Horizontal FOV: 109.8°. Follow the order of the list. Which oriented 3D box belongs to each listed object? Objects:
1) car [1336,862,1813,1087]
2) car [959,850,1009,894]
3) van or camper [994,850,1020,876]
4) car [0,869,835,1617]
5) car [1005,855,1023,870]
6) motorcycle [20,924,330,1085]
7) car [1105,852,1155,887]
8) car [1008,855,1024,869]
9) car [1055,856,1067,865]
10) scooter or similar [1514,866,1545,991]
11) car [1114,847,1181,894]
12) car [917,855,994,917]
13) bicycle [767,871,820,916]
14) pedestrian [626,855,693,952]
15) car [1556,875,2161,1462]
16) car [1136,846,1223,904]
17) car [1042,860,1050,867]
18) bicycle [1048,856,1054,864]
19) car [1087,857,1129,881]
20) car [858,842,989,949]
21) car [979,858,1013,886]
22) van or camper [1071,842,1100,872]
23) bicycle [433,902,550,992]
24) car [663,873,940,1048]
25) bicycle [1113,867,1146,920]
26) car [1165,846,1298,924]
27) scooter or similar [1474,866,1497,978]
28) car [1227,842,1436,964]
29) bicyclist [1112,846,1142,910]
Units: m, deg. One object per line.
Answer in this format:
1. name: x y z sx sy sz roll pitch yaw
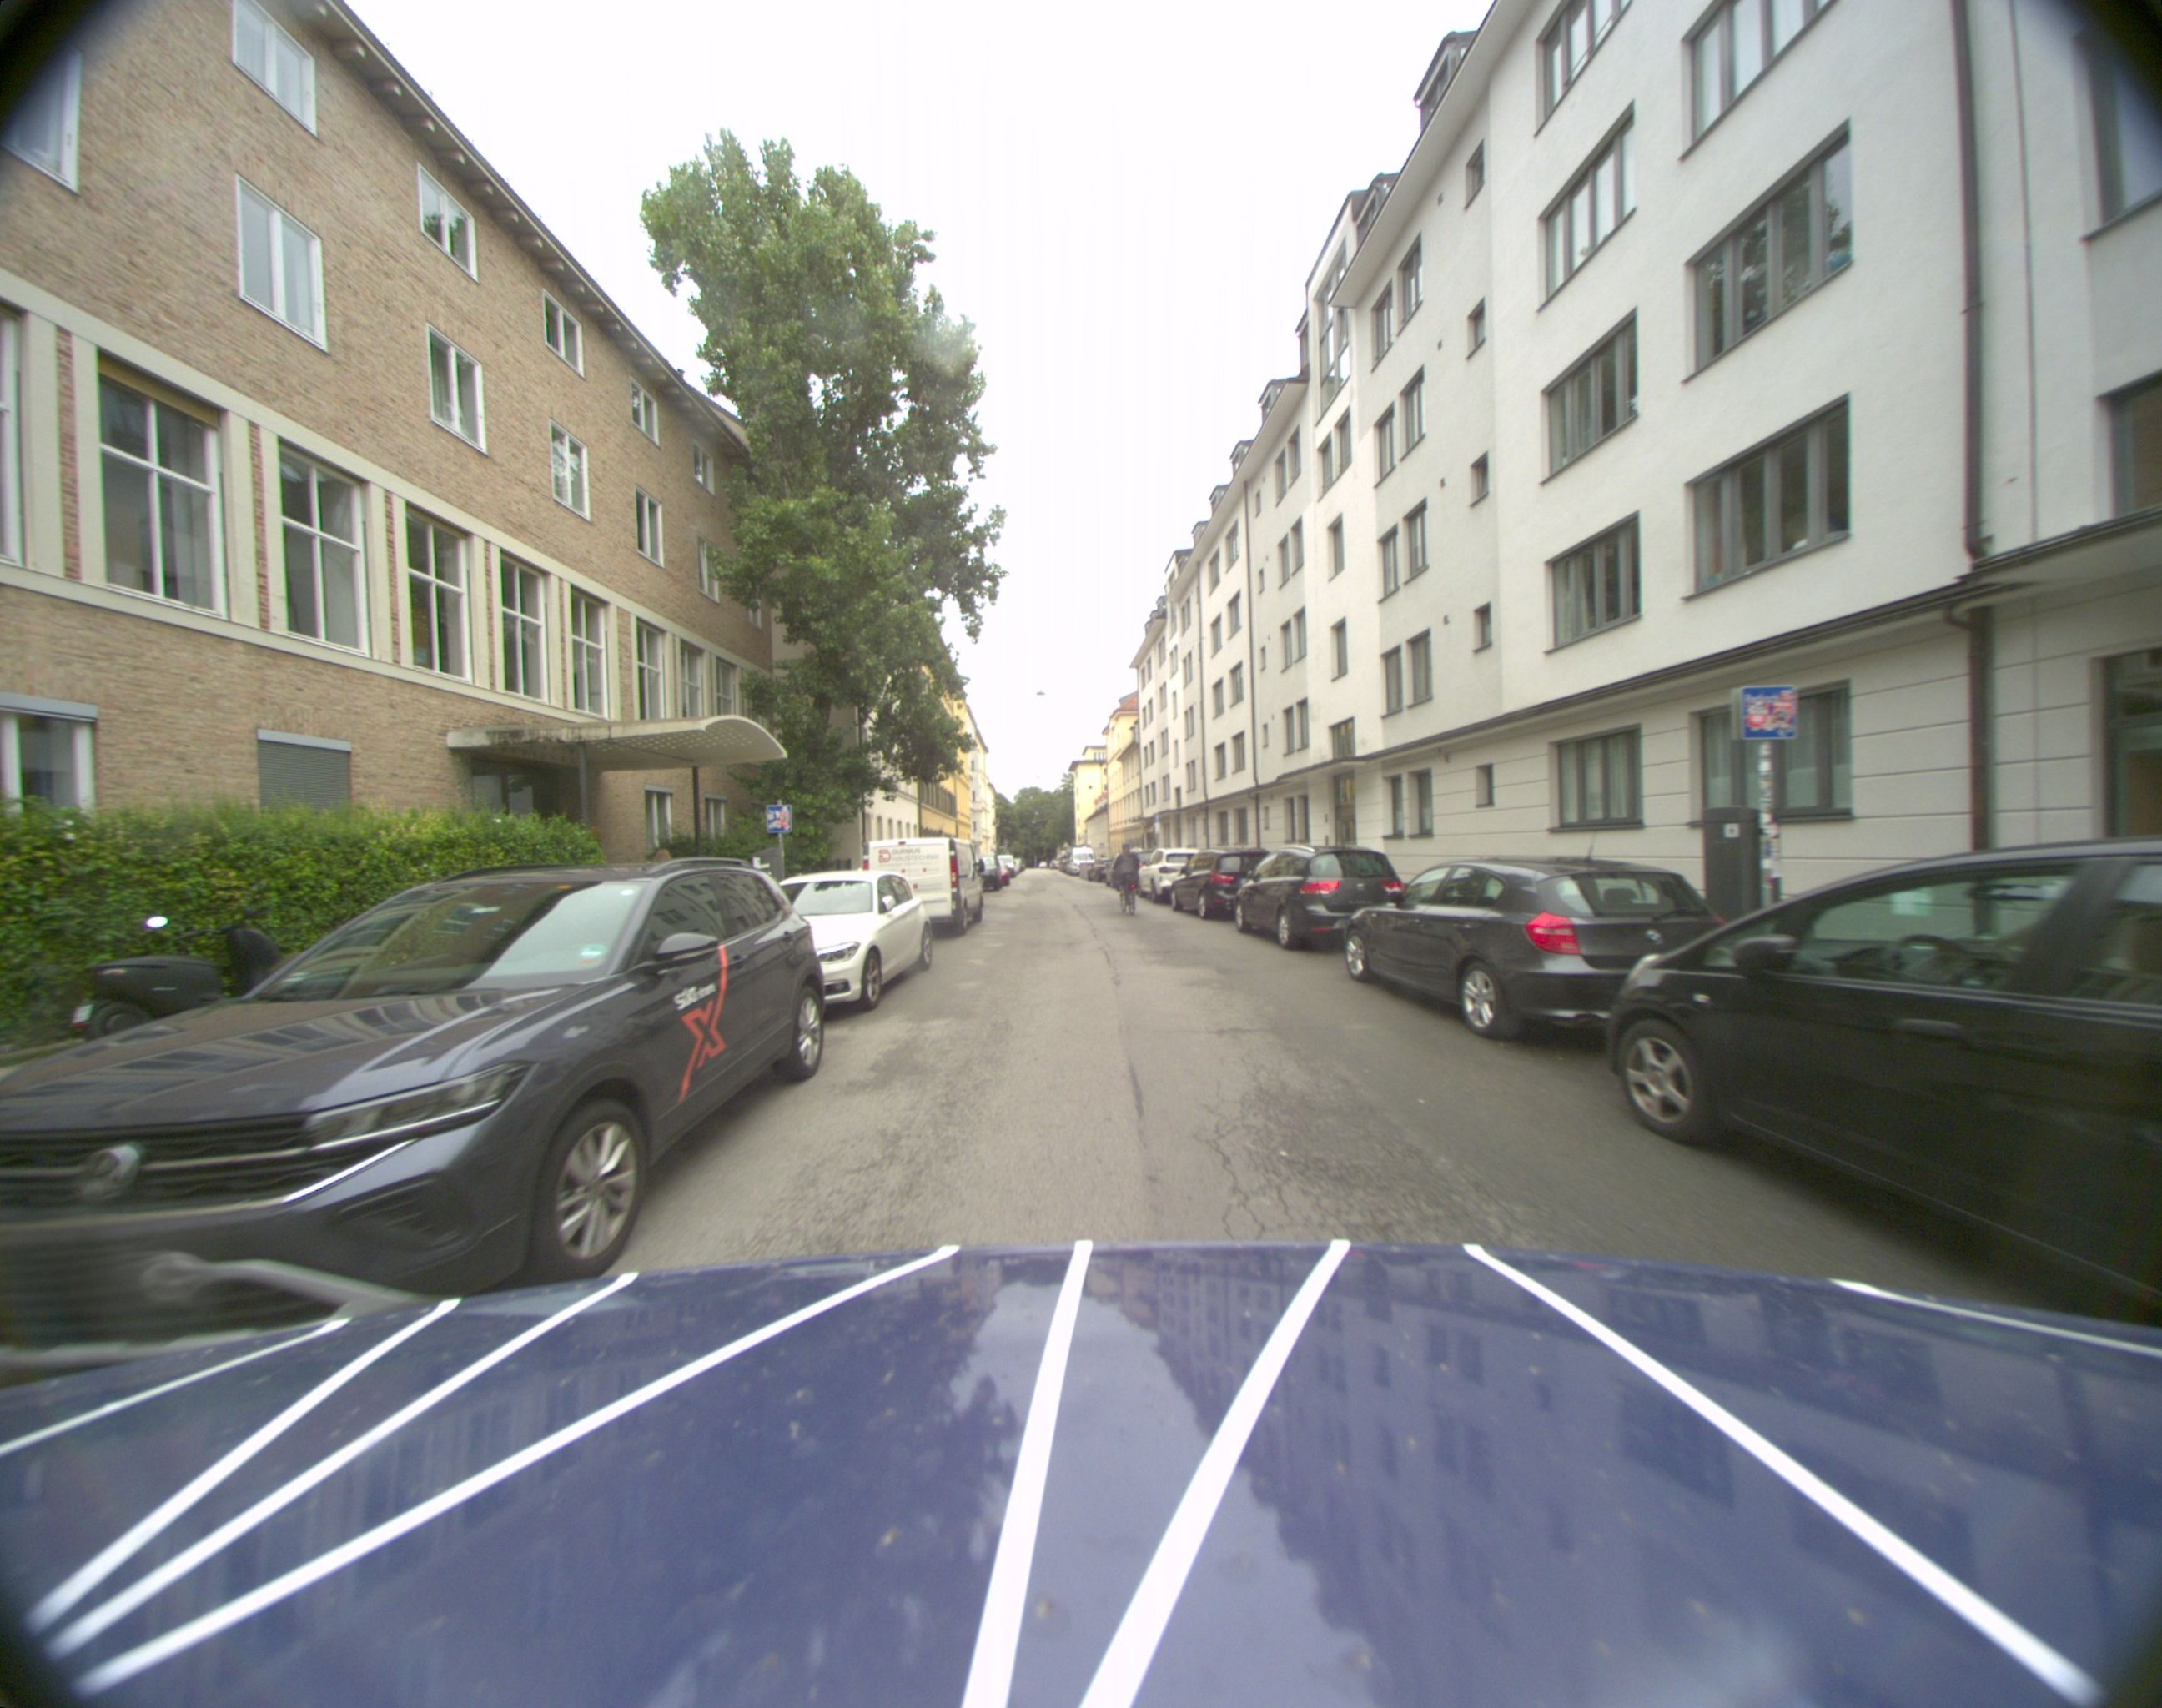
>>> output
1. car: 3.898 0.808 6.968 1.755 1.445 4.015 0 0 0
2. car: -4.495 0.785 35.672 1.851 1.766 4.199 -4 1 -2
3. van or camper: -6.150 0.732 63.389 1.999 2.002 5.231 -2 0 -4
4. car: -2.692 0.958 3.708 1.752 1.584 3.954 -3 1 -2
5. car: -6.995 0.912 79.600 1.722 1.501 4.467 -2 0 -3
6. motorcycle: -7.951 1.255 6.834 0.489 1.047 1.923 -3 0 -2
7. car: 2.218 0.700 35.234 1.778 1.530 4.157 0 0 -4
8. car: -7.302 0.909 85.333 1.722 1.501 3.935 -2 0 -4
9. car: -3.220 1.018 120.191 1.712 1.490 3.999 -2 0 -4
10. scooter or similar: 5.238 0.826 8.887 0.226 1.347 1.121 0 1 27
11. car: 2.480 0.607 29.427 1.878 1.678 4.519 0 0 -4
12. car: -3.609 0.856 22.489 1.813 1.591 4.213 -2 0 -4
13. bicycle: -7.608 1.014 20.208 0.672 1.067 2.223 -1 0 -3
14. pedestrian: -7.346 0.838 13.267 0.589 1.623 0.877 -2 0 2
15. car: 3.663 0.835 2.524 1.755 1.445 4.016 0 0 2
16. car: 3.012 0.628 24.165 1.878 1.648 4.589 0 0 -4
17. car: -7.494 1.979 162.543 1.793 1.409 3.904 -1 0 -4
18. bicycle: -4.561 0.904 116.280 0.734 1.144 1.999 -2 0 -4
19. car: 1.560 0.884 44.907 1.644 1.346 4.055 0 0 -10
20. car: -3.207 0.757 16.512 1.887 1.913 4.873 -2 0 -1
21. car: -4.763 0.952 43.088 1.718 1.415 4.455 -2 0 -5
22. van or camper: 0.361 0.219 63.042 1.999 2.298 5.476 -2 0 -3
23. bicycle: -8.115 1.245 10.533 0.423 1.047 1.488 -3 0 0
24. car: -2.959 1.033 9.081 1.677 1.409 4.201 -3 0 0
25. bicycle: 1.192 0.959 19.130 0.650 1.190 1.950 -1 1 -1
26. car: 3.475 0.669 18.517 1.878 1.648 4.588 0 0 -6
27. scooter or similar: 5.237 0.845 9.849 0.226 1.347 1.121 0 1 27
28. car: 3.846 0.689 12.483 1.877 1.648 4.079 0 0 -4
29. bicyclist: 1.136 0.587 19.011 0.659 1.542 0.887 -1 1 -1
